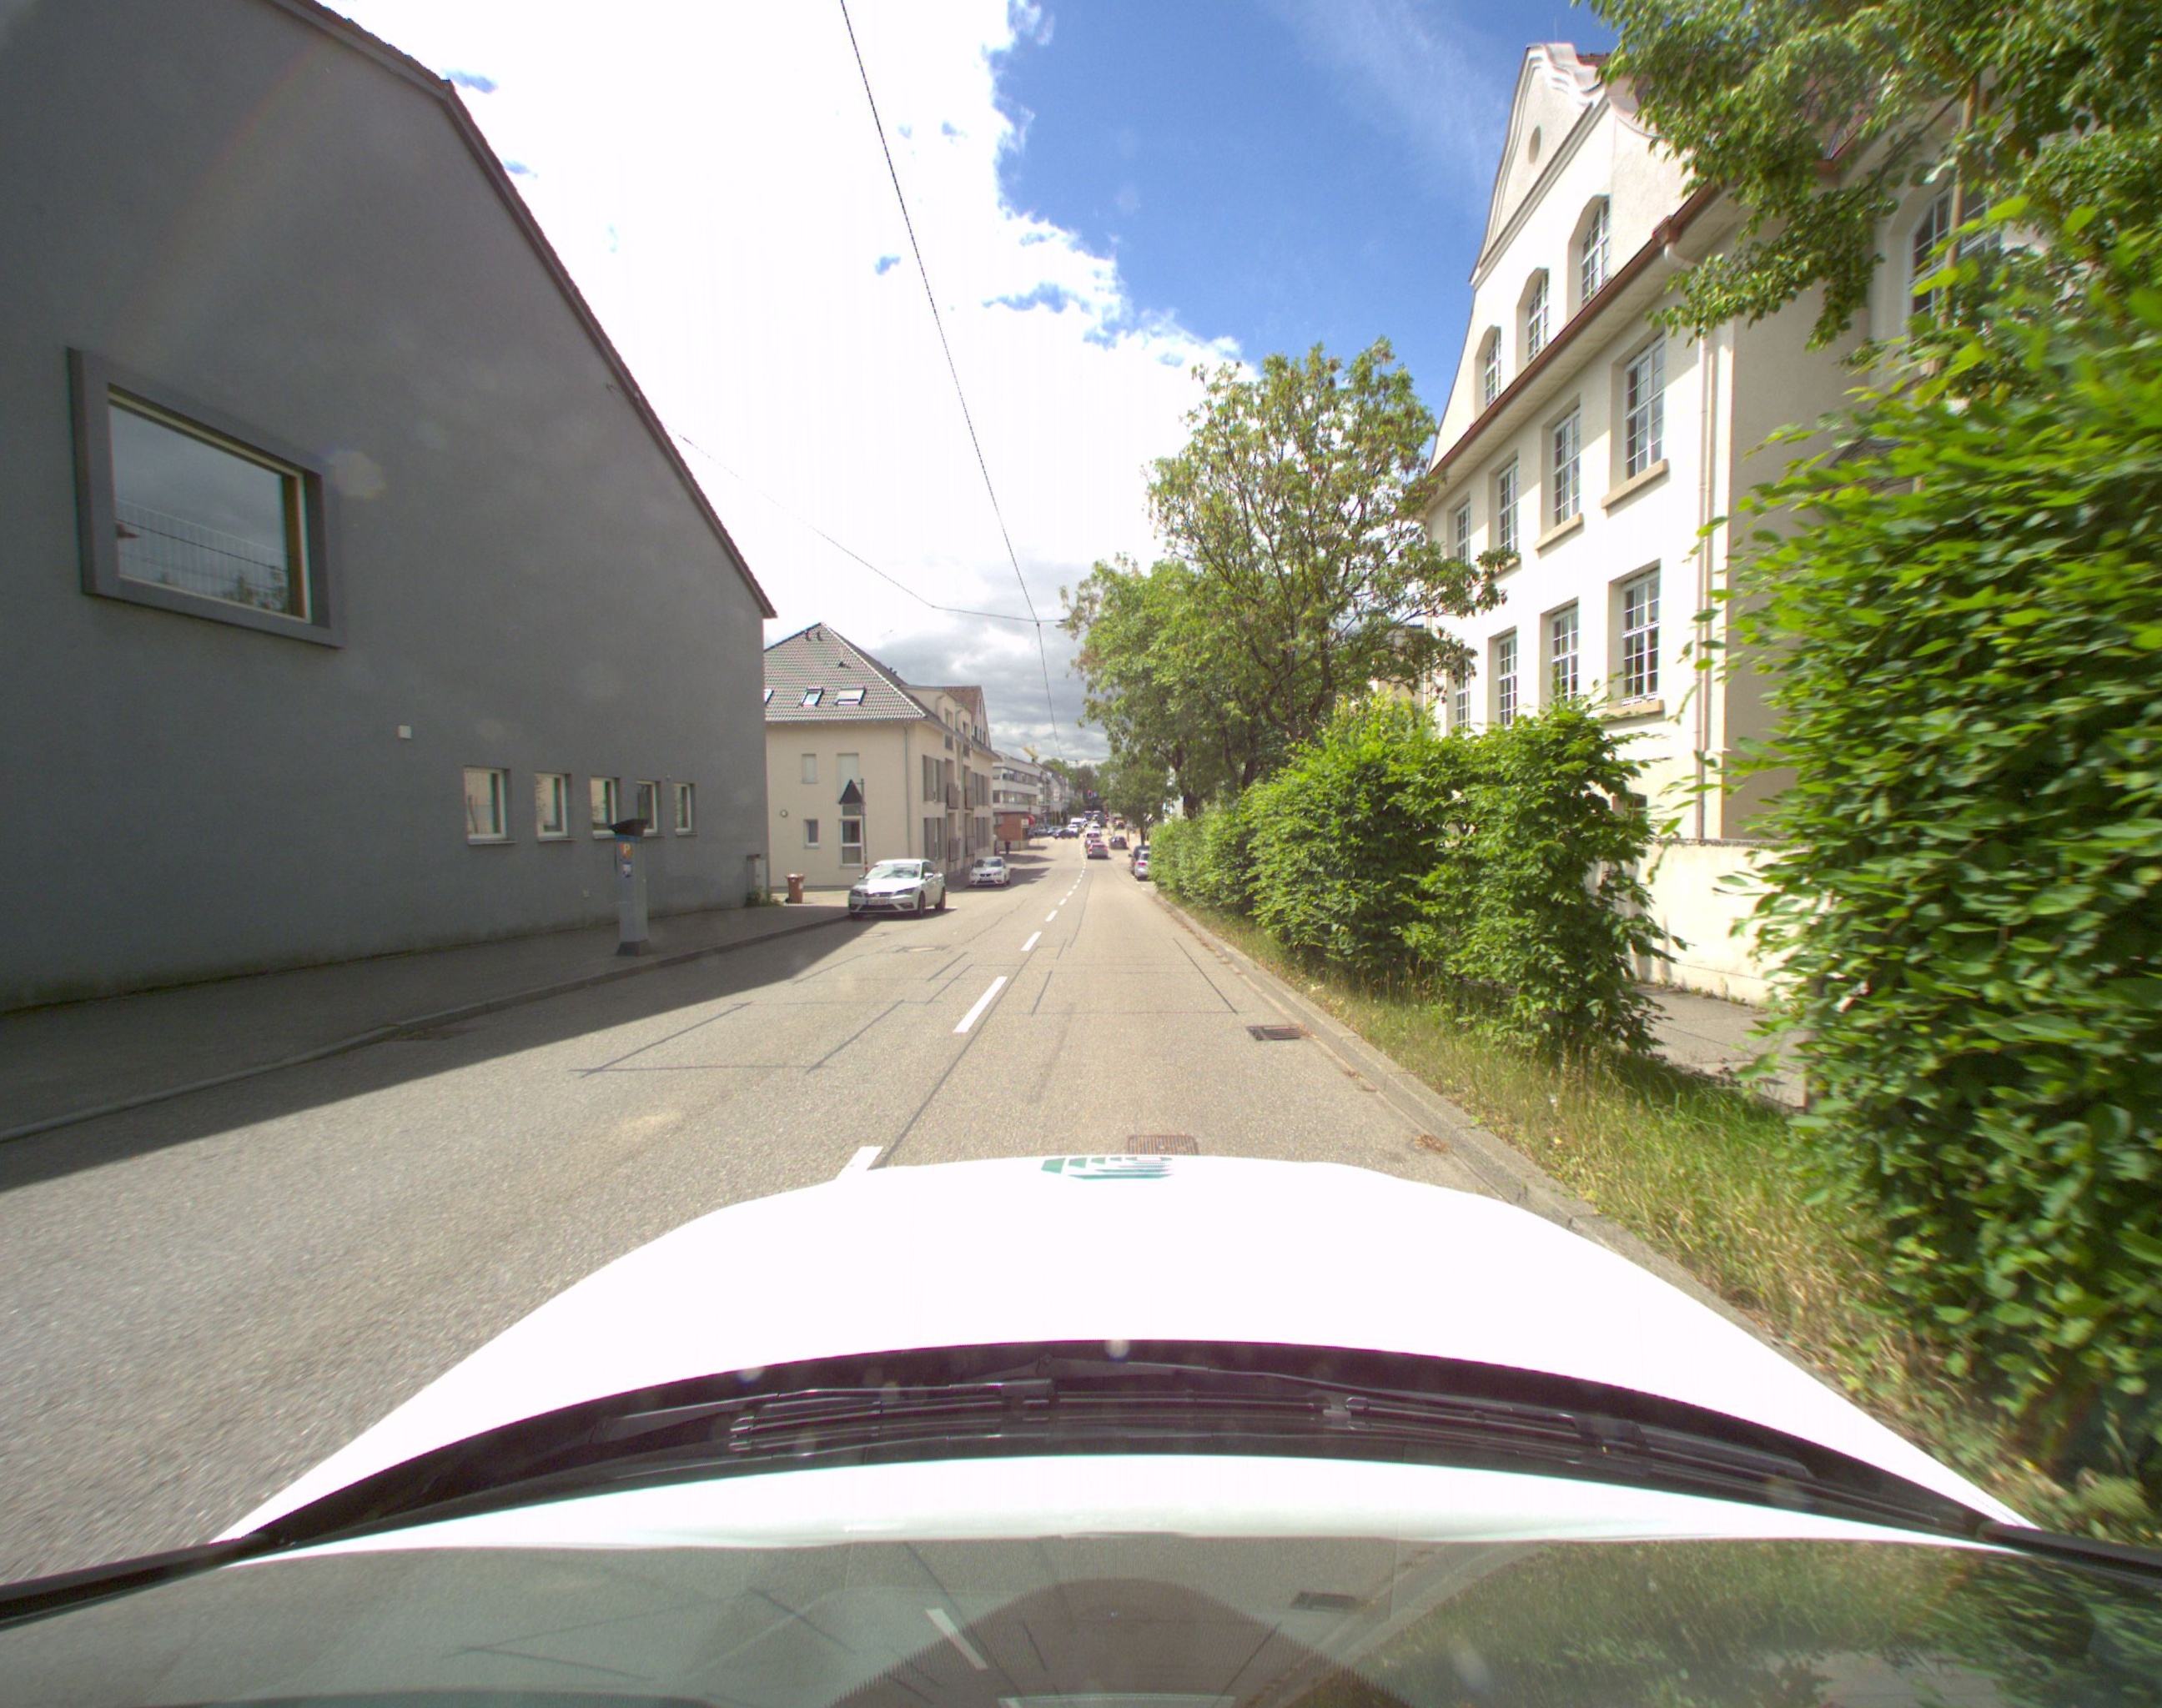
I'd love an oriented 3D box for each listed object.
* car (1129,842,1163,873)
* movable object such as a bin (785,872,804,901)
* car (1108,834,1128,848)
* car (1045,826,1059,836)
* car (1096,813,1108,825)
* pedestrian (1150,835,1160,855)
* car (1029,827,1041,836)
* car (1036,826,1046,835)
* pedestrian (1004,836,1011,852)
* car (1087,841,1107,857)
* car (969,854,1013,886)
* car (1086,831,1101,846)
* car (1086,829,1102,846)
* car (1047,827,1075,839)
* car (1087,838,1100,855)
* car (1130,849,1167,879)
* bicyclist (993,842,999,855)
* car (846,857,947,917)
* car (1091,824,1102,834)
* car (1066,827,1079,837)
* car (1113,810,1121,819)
[{"bbox_3d":[3.935,0.180,49.920,1.837,1.767,4.516,0,1,1],"label":"car"},{"bbox_3d":[-9.262,1.045,26.330,0.452,0.929,0.399,-1,0,0],"label":"movable object such as a bin"},{"bbox_3d":[4.058,-1.418,90.655,1.750,1.370,3.996,0,3,-4],"label":"car"},{"bbox_3d":[-4.830,-3.773,134.081,1.865,1.640,4.004,1,1,3],"label":"car"},{"bbox_3d":[4.520,-7.466,174.503,2.428,2.318,5.328,1,1,1],"label":"car"},{"bbox_3d":[6.278,-0.746,69.450,0.734,1.647,0.616,3,-1,0],"label":"pedestrian"},{"bbox_3d":[-7.516,-3.743,133.297,1.546,1.376,3.400,0,0,1],"label":"car"},{"bbox_3d":[-6.832,-3.948,138.549,1.379,1.541,3.400,0,0,1],"label":"car"},{"bbox_3d":[-7.331,-0.962,81.455,0.628,1.602,0.561,0,1,-11],"label":"pedestrian"},{"bbox_3d":[1.483,-0.460,74.944,1.738,1.416,4.001,0,1,1],"label":"car"},{"bbox_3d":[-4.299,0.743,39.346,1.641,1.418,3.699,0,0,1],"label":"car"},{"bbox_3d":[1.606,-1.968,105.009,1.830,1.862,3.852,0,1,1],"label":"car"},{"bbox_3d":[1.539,-1.883,94.118,1.830,1.862,3.852,0,1,1],"label":"car"},{"bbox_3d":[-2.860,-2.975,115.779,3.668,1.614,1.563,1,1,-26],"label":"car"},{"bbox_3d":[1.282,-0.781,83.861,1.269,1.527,3.052,-1,4,1],"label":"car"},{"bbox_3d":[3.619,0.513,44.270,1.780,1.509,4.366,0,1,1],"label":"car"},{"bbox_3d":[-7.749,-0.491,74.193,0.456,1.178,0.625,-1,2,1],"label":"bicyclist"},{"bbox_3d":[-4.716,0.791,21.305,1.691,1.390,3.866,0,0,1],"label":"car"},{"bbox_3d":[2.581,-4.202,135.329,1.881,1.508,4.002,-1,0,2],"label":"car"},{"bbox_3d":[-1.457,-3.748,137.283,1.865,1.640,4.004,1,1,3],"label":"car"},{"bbox_3d":[8.353,-9.121,188.088,1.795,2.013,4.001,0,0,1],"label":"car"}]
